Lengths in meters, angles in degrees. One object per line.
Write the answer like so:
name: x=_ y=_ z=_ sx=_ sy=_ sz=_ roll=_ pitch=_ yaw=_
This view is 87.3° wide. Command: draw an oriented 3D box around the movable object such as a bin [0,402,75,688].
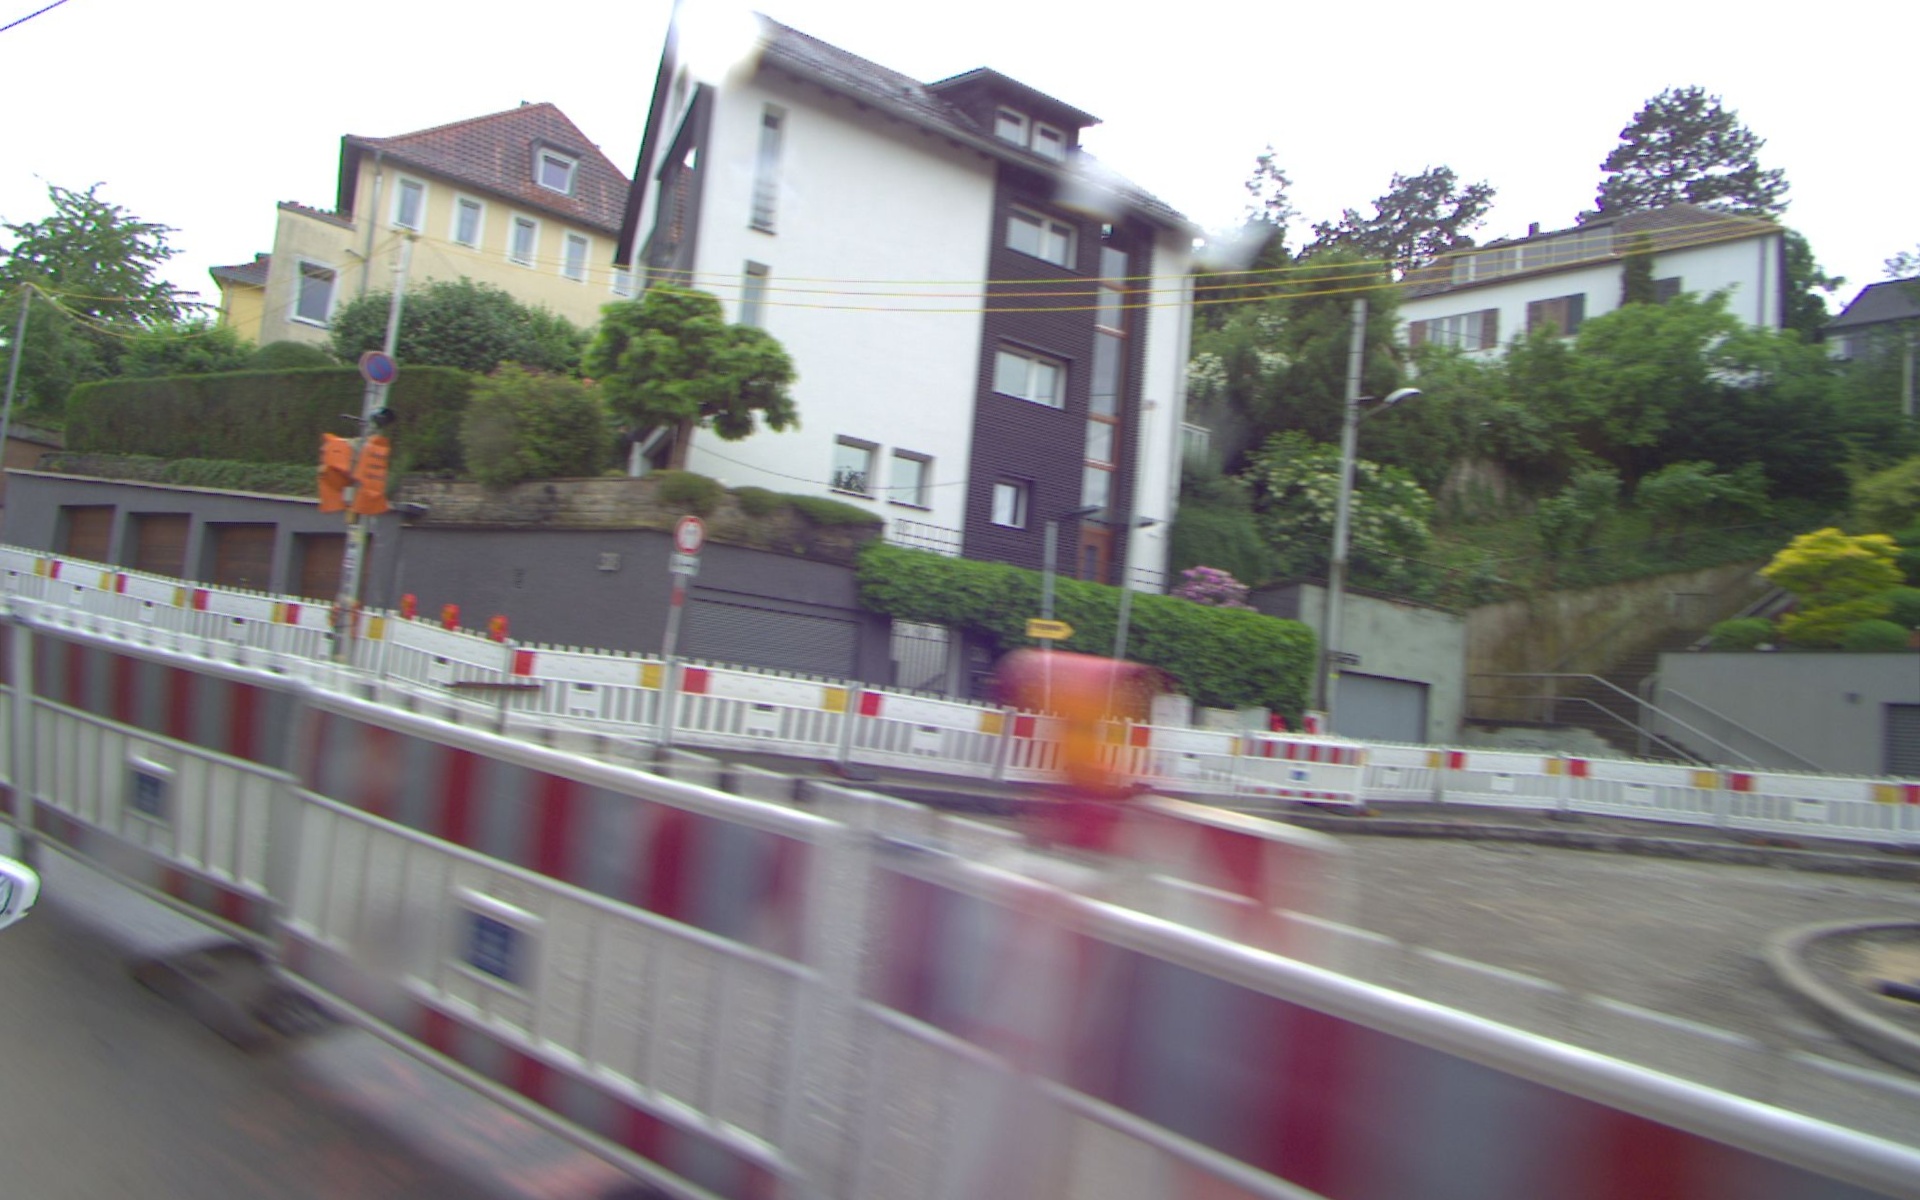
movable object such as a bin: x=-12.501 y=-0.800 z=10.985 sx=5.579 sy=2.868 sz=2.094 roll=4 pitch=-4 yaw=27
